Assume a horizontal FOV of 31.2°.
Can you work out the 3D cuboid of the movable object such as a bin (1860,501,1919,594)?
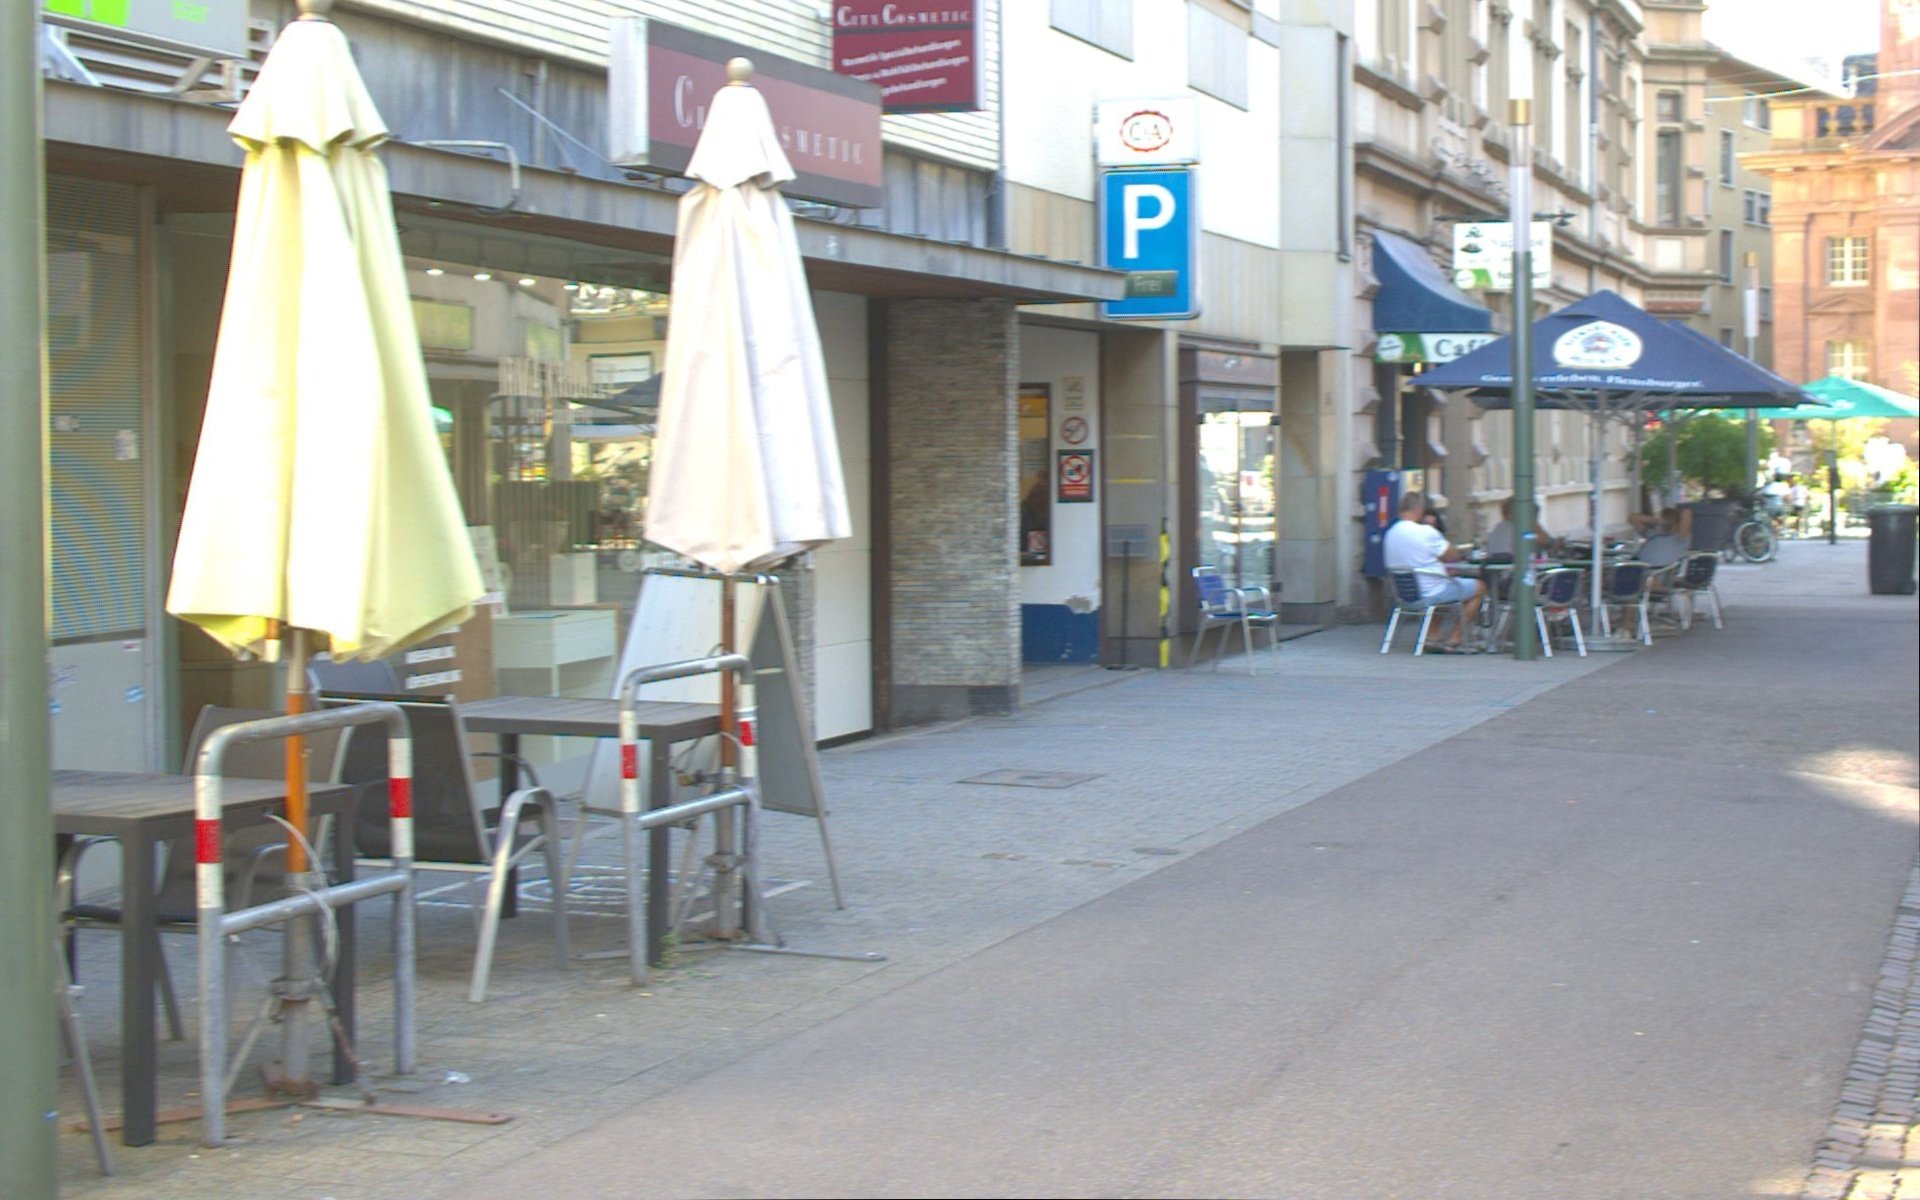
[{"bbox_3d":[10.864,-0.612,40.058,0.722,1.071,0.374,0,2,16],"label":"movable object such as a bin"}]

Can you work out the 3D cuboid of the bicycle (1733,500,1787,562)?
[{"bbox_3d":[11.480,-0.998,49.308,0.457,0.847,2.144,1,2,21],"label":"bicycle"}]

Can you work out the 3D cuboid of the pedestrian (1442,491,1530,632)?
[{"bbox_3d":[4.716,-0.354,30.774,0.765,1.229,0.831,0,2,10],"label":"pedestrian"}]

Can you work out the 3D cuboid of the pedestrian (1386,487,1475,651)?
[{"bbox_3d":[3.980,-0.271,29.121,0.717,1.363,0.710,0,2,6],"label":"pedestrian"}]

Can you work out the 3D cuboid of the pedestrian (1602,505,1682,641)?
[{"bbox_3d":[6.171,-0.253,31.138,0.692,1.211,0.583,0,2,10],"label":"pedestrian"}]

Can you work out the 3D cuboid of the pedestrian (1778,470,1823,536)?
[{"bbox_3d":[15.733,-1.823,64.342,0.701,1.213,0.719,1,2,23],"label":"pedestrian"}]

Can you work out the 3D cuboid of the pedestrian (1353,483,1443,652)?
[{"bbox_3d":[3.572,-0.273,28.080,0.708,1.363,0.720,0,2,6],"label":"pedestrian"}]

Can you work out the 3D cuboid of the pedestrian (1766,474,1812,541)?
[{"bbox_3d":[15.205,-1.708,63.013,0.701,1.213,0.719,1,2,23],"label":"pedestrian"}]
